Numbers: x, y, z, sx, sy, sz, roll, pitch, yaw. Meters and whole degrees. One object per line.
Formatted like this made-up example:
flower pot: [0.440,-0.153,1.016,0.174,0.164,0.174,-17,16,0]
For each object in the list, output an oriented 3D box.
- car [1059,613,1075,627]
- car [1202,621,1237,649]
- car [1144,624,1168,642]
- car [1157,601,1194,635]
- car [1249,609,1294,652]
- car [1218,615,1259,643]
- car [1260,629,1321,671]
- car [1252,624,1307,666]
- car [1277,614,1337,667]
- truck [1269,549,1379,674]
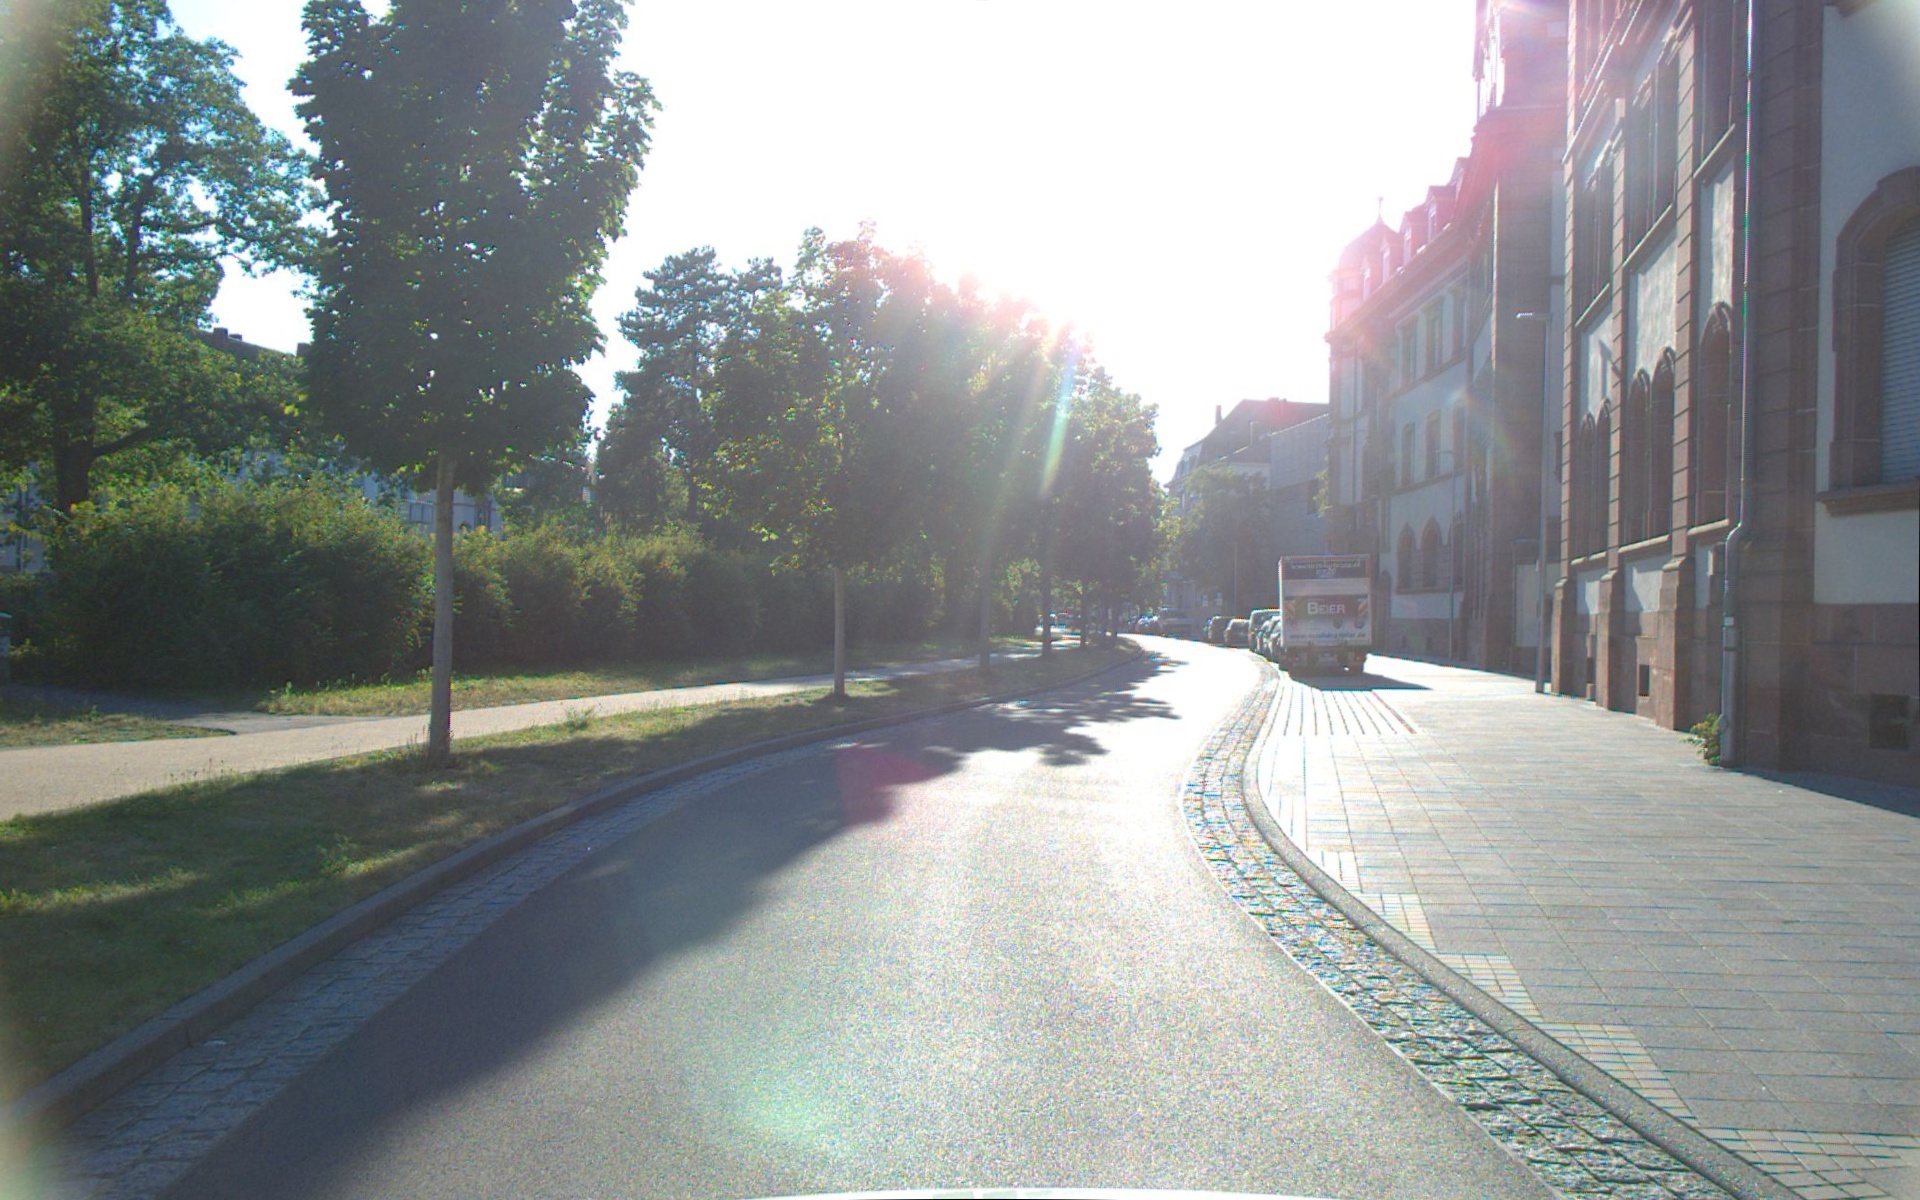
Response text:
car: [14.390,2.685,222.386,1.757,1.755,4.000,2,-1,0]
car: [16.283,2.165,103.844,1.688,1.698,4.115,0,0,2]
car: [17.067,2.881,144.149,1.656,1.466,3.549,0,0,-2]
car: [17.282,1.439,132.754,2.166,2.574,6.147,-1,-1,0]
car: [15.310,1.521,81.492,1.951,2.000,4.852,-2,-2,8]
car: [15.685,1.629,93.396,1.711,1.492,4.479,2,0,3]
car: [12.049,1.801,60.531,1.832,1.461,4.525,-1,-1,7]
car: [12.662,1.765,65.767,1.777,1.630,4.195,0,-1,6]
car: [10.795,1.233,51.576,1.730,1.557,4.576,-1,-1,11]
truck: [9.961,0.329,45.751,2.567,3.175,6.092,-1,-1,9]
